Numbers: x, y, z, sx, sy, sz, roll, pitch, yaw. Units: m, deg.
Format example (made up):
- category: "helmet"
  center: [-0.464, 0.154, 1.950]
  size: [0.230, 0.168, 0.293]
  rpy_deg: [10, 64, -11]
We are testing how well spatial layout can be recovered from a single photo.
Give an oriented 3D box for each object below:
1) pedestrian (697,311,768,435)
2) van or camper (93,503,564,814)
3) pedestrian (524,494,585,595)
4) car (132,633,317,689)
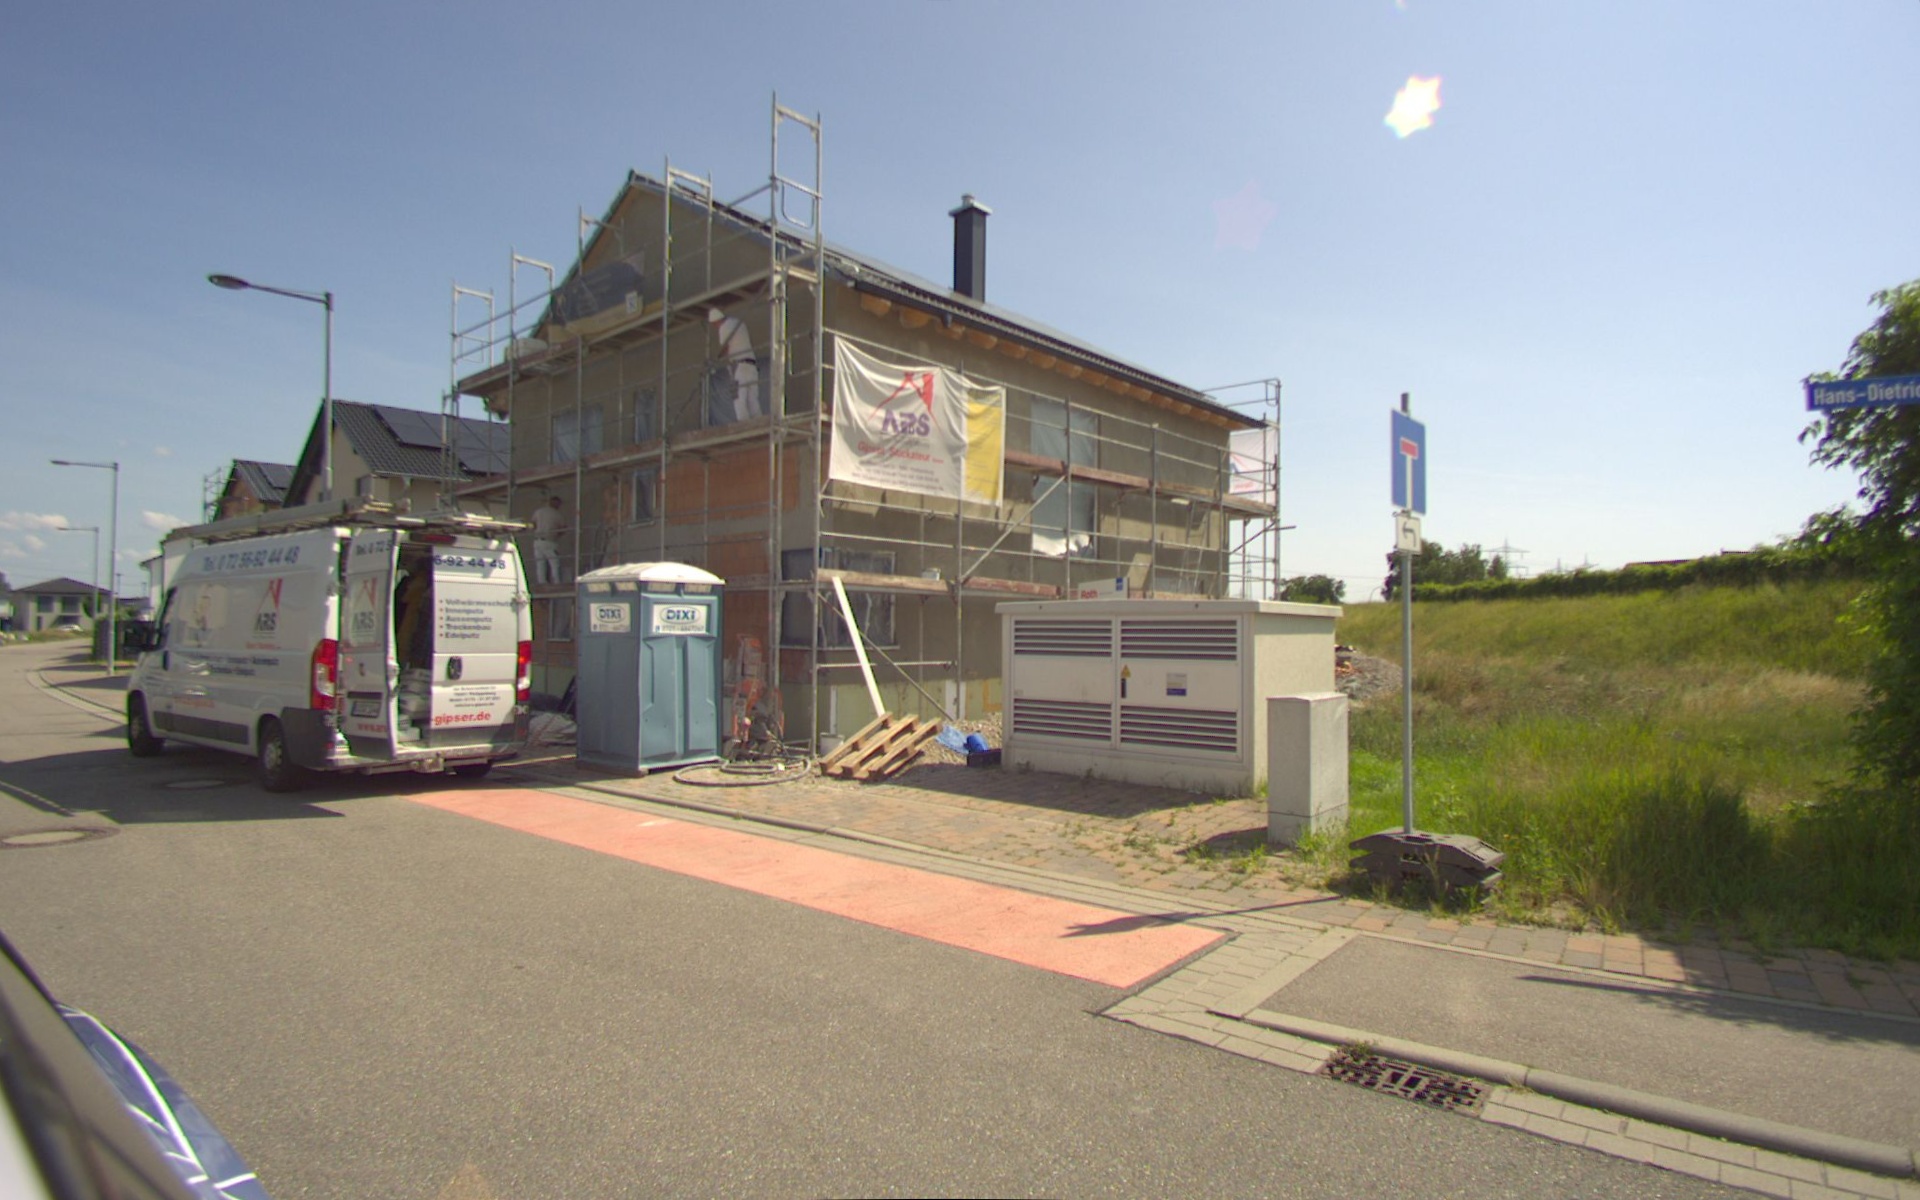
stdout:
- category: "pedestrian"
  center: [-3.013, -3.003, 13.457]
  size: [0.739, 1.511, 0.562]
  rpy_deg: [2, -1, 6]
- category: "van or camper"
  center: [-7.210, 0.548, 11.196]
  size: [6.356, 2.573, 2.252]
  rpy_deg: [-1, -2, 37]
- category: "pedestrian"
  center: [-7.060, -0.950, 17.637]
  size: [0.578, 1.692, 0.738]
  rpy_deg: [1, -2, 39]
- category: "car"
  center: [-23.093, 1.884, 31.893]
  size: [2.000, 1.624, 4.376]
  rpy_deg: [-2, -4, 43]
